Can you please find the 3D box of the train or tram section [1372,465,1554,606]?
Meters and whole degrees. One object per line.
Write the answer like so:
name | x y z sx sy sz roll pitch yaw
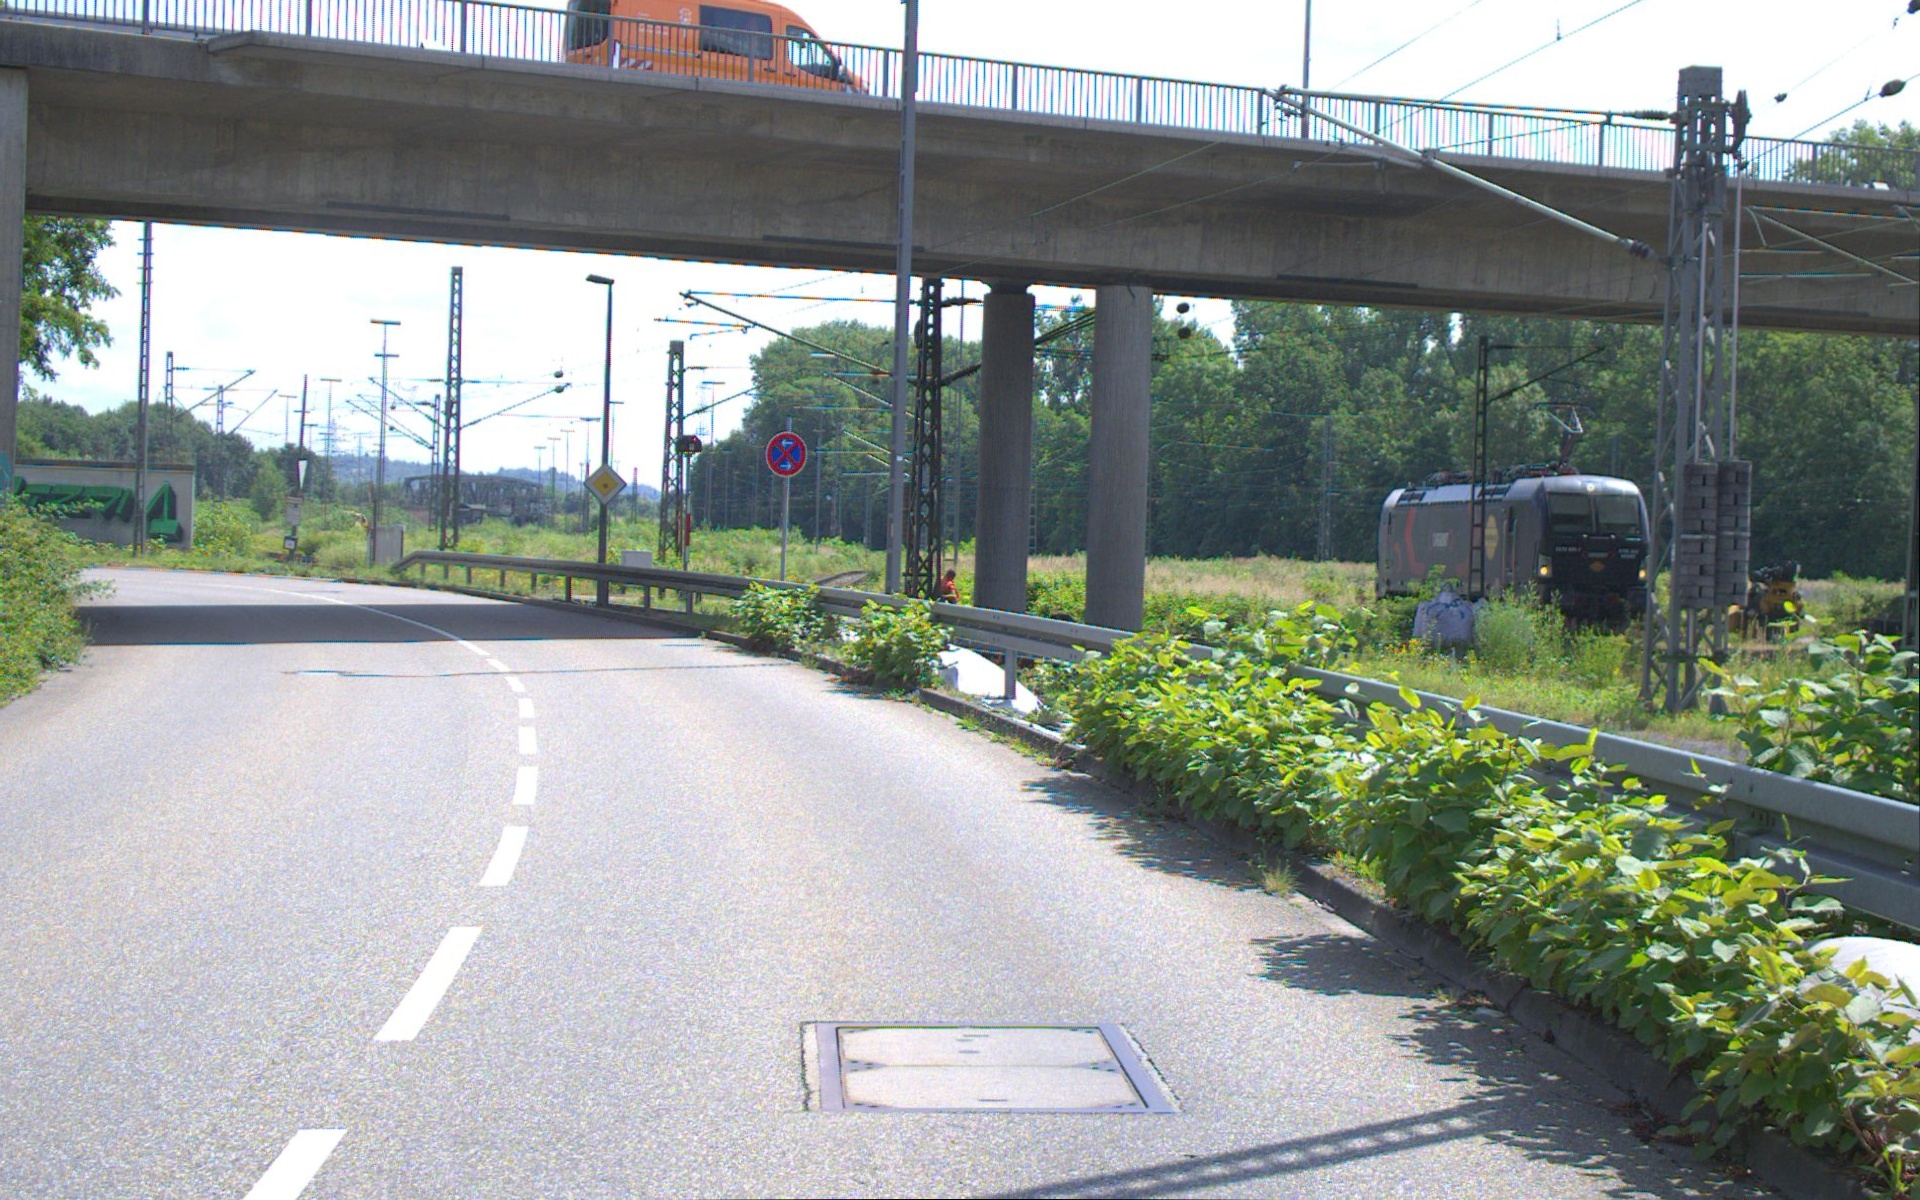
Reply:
train or tram section | 13.178 -1.660 90.829 2.755 3.465 8.241 2 0 -6

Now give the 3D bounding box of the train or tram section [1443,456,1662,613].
train or tram section | 14.076 -1.528 82.466 2.890 3.497 8.567 2 0 -6

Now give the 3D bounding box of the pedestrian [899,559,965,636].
pedestrian | -0.581 -0.060 71.151 1.110 1.534 1.580 2 0 -9

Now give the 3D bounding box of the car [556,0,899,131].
car | -3.779 -8.999 56.427 5.320 2.007 2.000 0 0 -34
